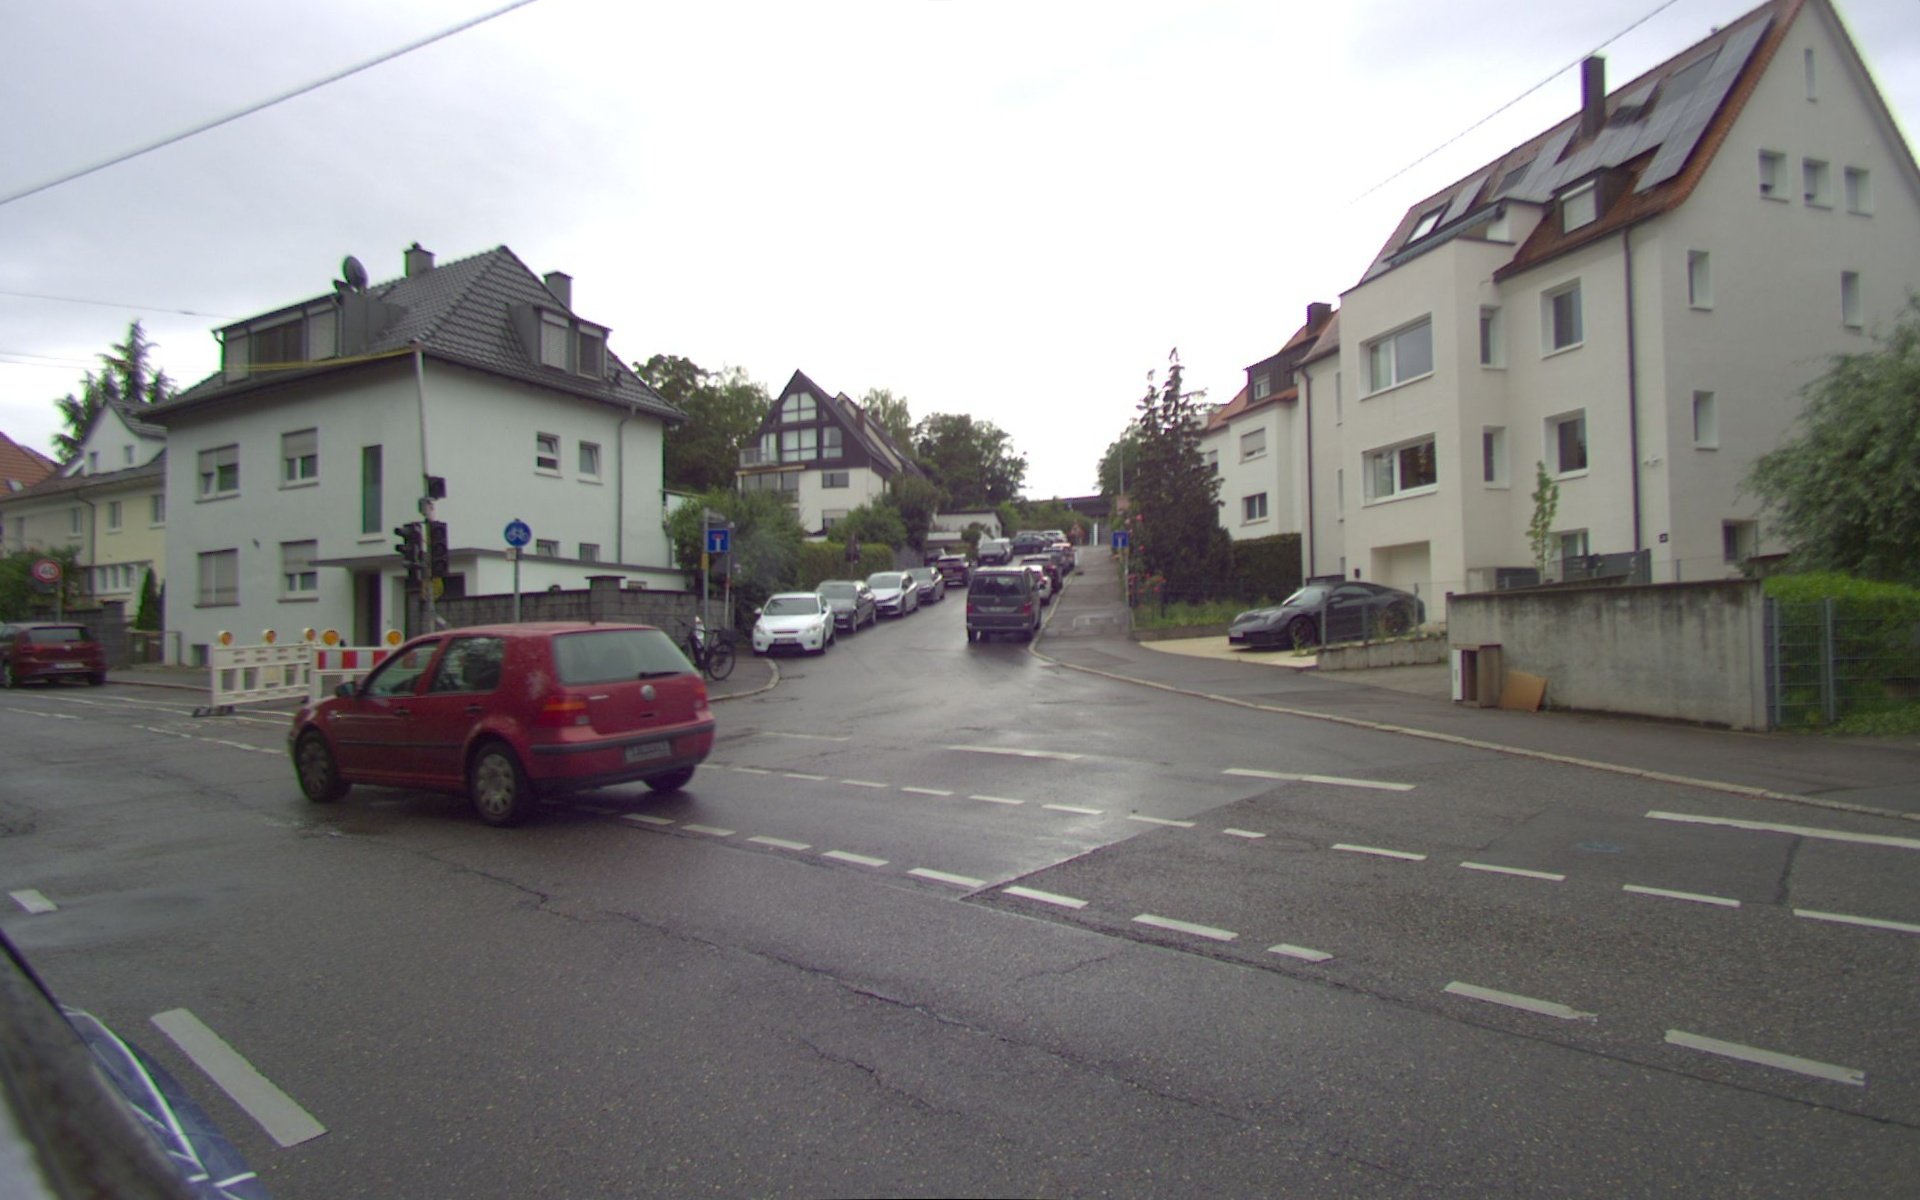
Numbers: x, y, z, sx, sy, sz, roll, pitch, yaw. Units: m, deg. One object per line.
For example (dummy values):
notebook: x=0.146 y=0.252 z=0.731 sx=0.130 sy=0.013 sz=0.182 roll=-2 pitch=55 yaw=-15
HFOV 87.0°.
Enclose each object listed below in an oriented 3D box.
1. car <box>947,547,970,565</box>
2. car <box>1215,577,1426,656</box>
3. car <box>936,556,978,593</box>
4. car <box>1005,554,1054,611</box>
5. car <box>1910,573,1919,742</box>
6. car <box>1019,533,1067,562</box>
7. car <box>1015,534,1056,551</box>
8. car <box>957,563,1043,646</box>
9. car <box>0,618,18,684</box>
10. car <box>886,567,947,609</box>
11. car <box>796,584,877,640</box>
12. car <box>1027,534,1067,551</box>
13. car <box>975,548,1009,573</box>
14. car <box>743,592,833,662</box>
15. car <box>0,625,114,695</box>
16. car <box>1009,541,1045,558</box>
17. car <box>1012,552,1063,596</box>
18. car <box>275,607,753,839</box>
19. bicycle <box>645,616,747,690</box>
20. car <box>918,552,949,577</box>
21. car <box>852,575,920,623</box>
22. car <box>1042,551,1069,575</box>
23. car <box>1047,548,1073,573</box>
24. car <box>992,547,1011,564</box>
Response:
car: x=-0.071 y=-3.251 z=74.011 sx=1.559 sy=1.220 sz=3.650 roll=-1 pitch=3 yaw=2
car: x=7.717 y=0.337 z=21.761 sx=3.942 sy=1.290 sz=1.613 roll=-5 pitch=1 yaw=-13
car: x=-0.103 y=-1.357 z=52.454 sx=1.623 sy=1.637 sz=3.992 roll=-1 pitch=5 yaw=8
car: x=2.830 y=-0.749 z=40.313 sx=1.686 sy=1.843 sz=4.194 roll=-1 pitch=6 yaw=7
car: x=10.615 y=0.425 z=8.538 sx=3.934 sy=1.497 sz=1.780 roll=-2 pitch=-1 yaw=-12
car: x=7.214 y=-4.552 z=87.632 sx=3.954 sy=2.028 sz=1.995 roll=-5 pitch=-1 yaw=8
car: x=7.402 y=-5.579 z=98.778 sx=3.922 sy=1.528 sz=1.748 roll=-1 pitch=0 yaw=6
car: x=1.253 y=0.054 z=29.314 sx=1.978 sy=2.028 sz=4.482 roll=-1 pitch=4 yaw=9
car: x=-26.143 y=1.321 z=25.763 sx=4.131 sy=1.653 sz=1.782 roll=-1 pitch=-1 yaw=25
car: x=-1.796 y=-0.548 z=42.949 sx=1.903 sy=1.448 sz=4.100 roll=-1 pitch=5 yaw=7
car: x=-3.817 y=0.323 z=31.807 sx=1.702 sy=1.397 sz=3.900 roll=-1 pitch=4 yaw=6
car: x=8.950 y=-5.889 z=103.904 sx=3.782 sy=1.529 sz=1.664 roll=-1 pitch=-1 yaw=15
car: x=2.207 y=-2.662 z=68.875 sx=1.770 sy=1.531 sz=4.016 roll=-1 pitch=0 yaw=9
car: x=-4.343 y=0.628 z=26.145 sx=1.827 sy=1.473 sz=4.124 roll=-1 pitch=3 yaw=-3
car: x=-21.458 y=1.337 z=23.372 sx=3.833 sy=1.443 sz=1.768 roll=-1 pitch=-1 yaw=30
car: x=5.564 y=-4.189 z=83.644 sx=2.914 sy=1.328 sz=1.282 roll=-1 pitch=0 yaw=4
car: x=3.532 y=-1.187 z=45.365 sx=1.823 sy=1.699 sz=4.039 roll=-1 pitch=5 yaw=11
car: x=-3.745 y=0.848 z=8.321 sx=3.874 sy=1.474 sz=1.750 roll=-2 pitch=-1 yaw=33
bicycle: x=-4.775 y=0.935 z=18.446 sx=0.508 sy=1.249 sz=1.984 roll=1 pitch=0 yaw=32
car: x=-1.816 y=-2.411 z=69.783 sx=1.793 sy=1.566 sz=4.009 roll=-1 pitch=0 yaw=3
car: x=-2.647 y=-0.080 z=37.076 sx=1.738 sy=1.481 sz=3.940 roll=-1 pitch=4 yaw=6
car: x=5.514 y=-2.136 z=58.101 sx=1.274 sy=1.325 sz=2.984 roll=-1 pitch=3 yaw=10
car: x=6.248 y=-2.440 z=62.837 sx=1.488 sy=1.373 sz=3.465 roll=-1 pitch=0 yaw=8
car: x=3.069 y=-3.318 z=74.700 sx=1.292 sy=1.206 sz=2.980 roll=-1 pitch=3 yaw=5
